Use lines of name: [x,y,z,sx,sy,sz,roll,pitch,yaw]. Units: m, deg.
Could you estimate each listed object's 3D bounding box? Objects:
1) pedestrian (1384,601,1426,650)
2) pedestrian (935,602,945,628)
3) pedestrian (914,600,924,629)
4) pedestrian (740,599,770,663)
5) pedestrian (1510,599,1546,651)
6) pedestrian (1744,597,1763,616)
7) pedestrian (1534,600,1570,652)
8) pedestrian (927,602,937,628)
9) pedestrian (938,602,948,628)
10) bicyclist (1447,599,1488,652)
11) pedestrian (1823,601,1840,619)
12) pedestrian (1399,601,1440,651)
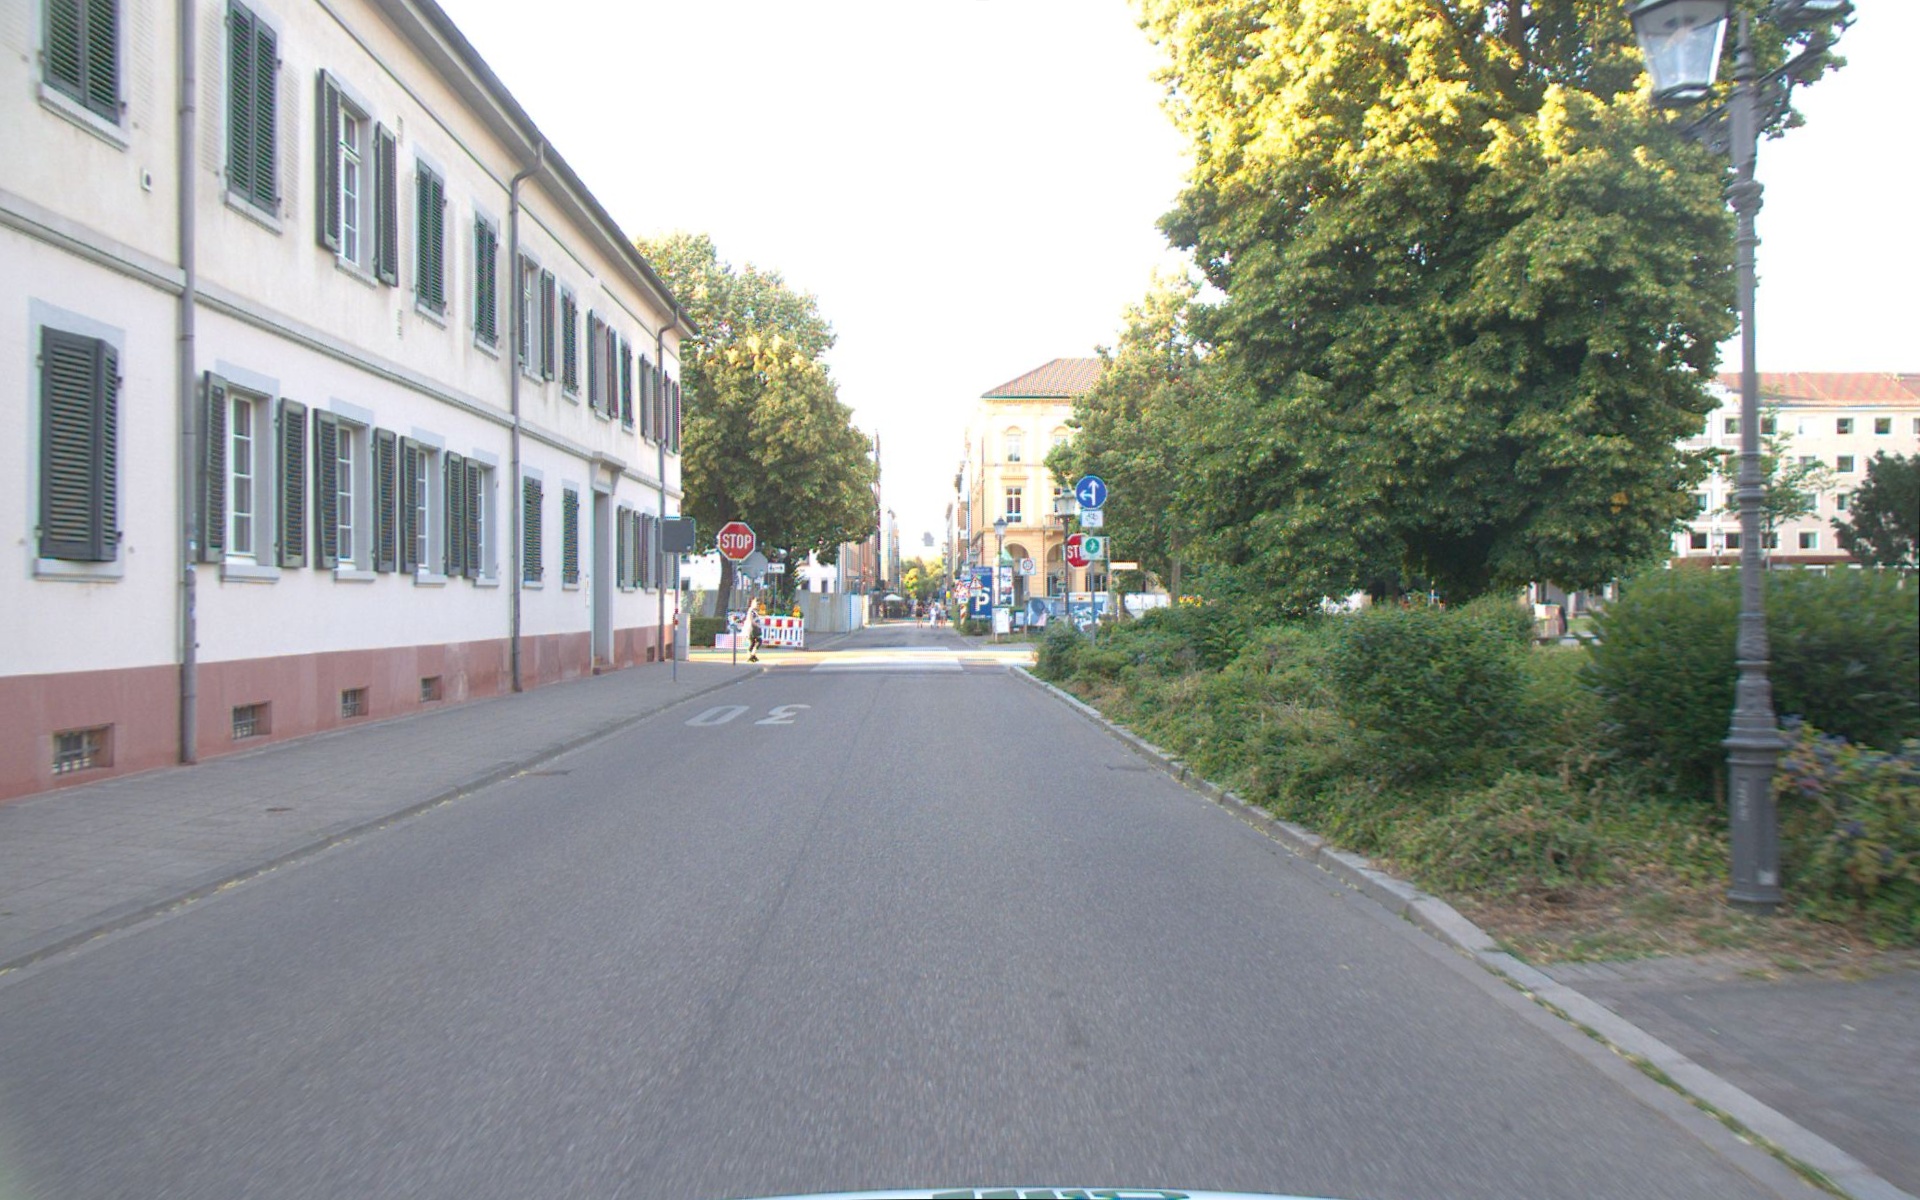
pedestrian: [11.682,0.664,43.432,0.674,1.259,0.810,0,-1,-31]
pedestrian: [-1.307,0.966,106.568,0.644,1.664,0.745,-1,0,-1]
pedestrian: [-2.630,0.930,106.492,0.644,1.790,0.745,-1,0,-1]
pedestrian: [-5.535,0.834,44.625,0.719,1.719,0.836,-1,-1,-2]
pedestrian: [15.076,0.667,43.900,0.585,1.365,0.817,-1,0,-7]
pedestrian: [46.245,0.358,96.427,0.877,1.096,0.622,-1,-1,16]
pedestrian: [15.719,0.679,43.959,0.585,1.365,0.817,-1,0,-7]
pedestrian: [-1.778,0.959,104.763,0.644,1.645,0.745,-1,0,-1]
pedestrian: [-1.092,0.924,104.795,0.644,1.645,0.745,-1,0,-1]
bicyclist: [15.923,0.793,51.898,1.041,1.661,0.595,0,0,-11]
pedestrian: [46.865,0.525,88.923,0.504,0.941,0.616,-1,-1,-27]
pedestrian: [12.177,0.686,43.861,0.591,1.283,0.864,0,-1,-32]
